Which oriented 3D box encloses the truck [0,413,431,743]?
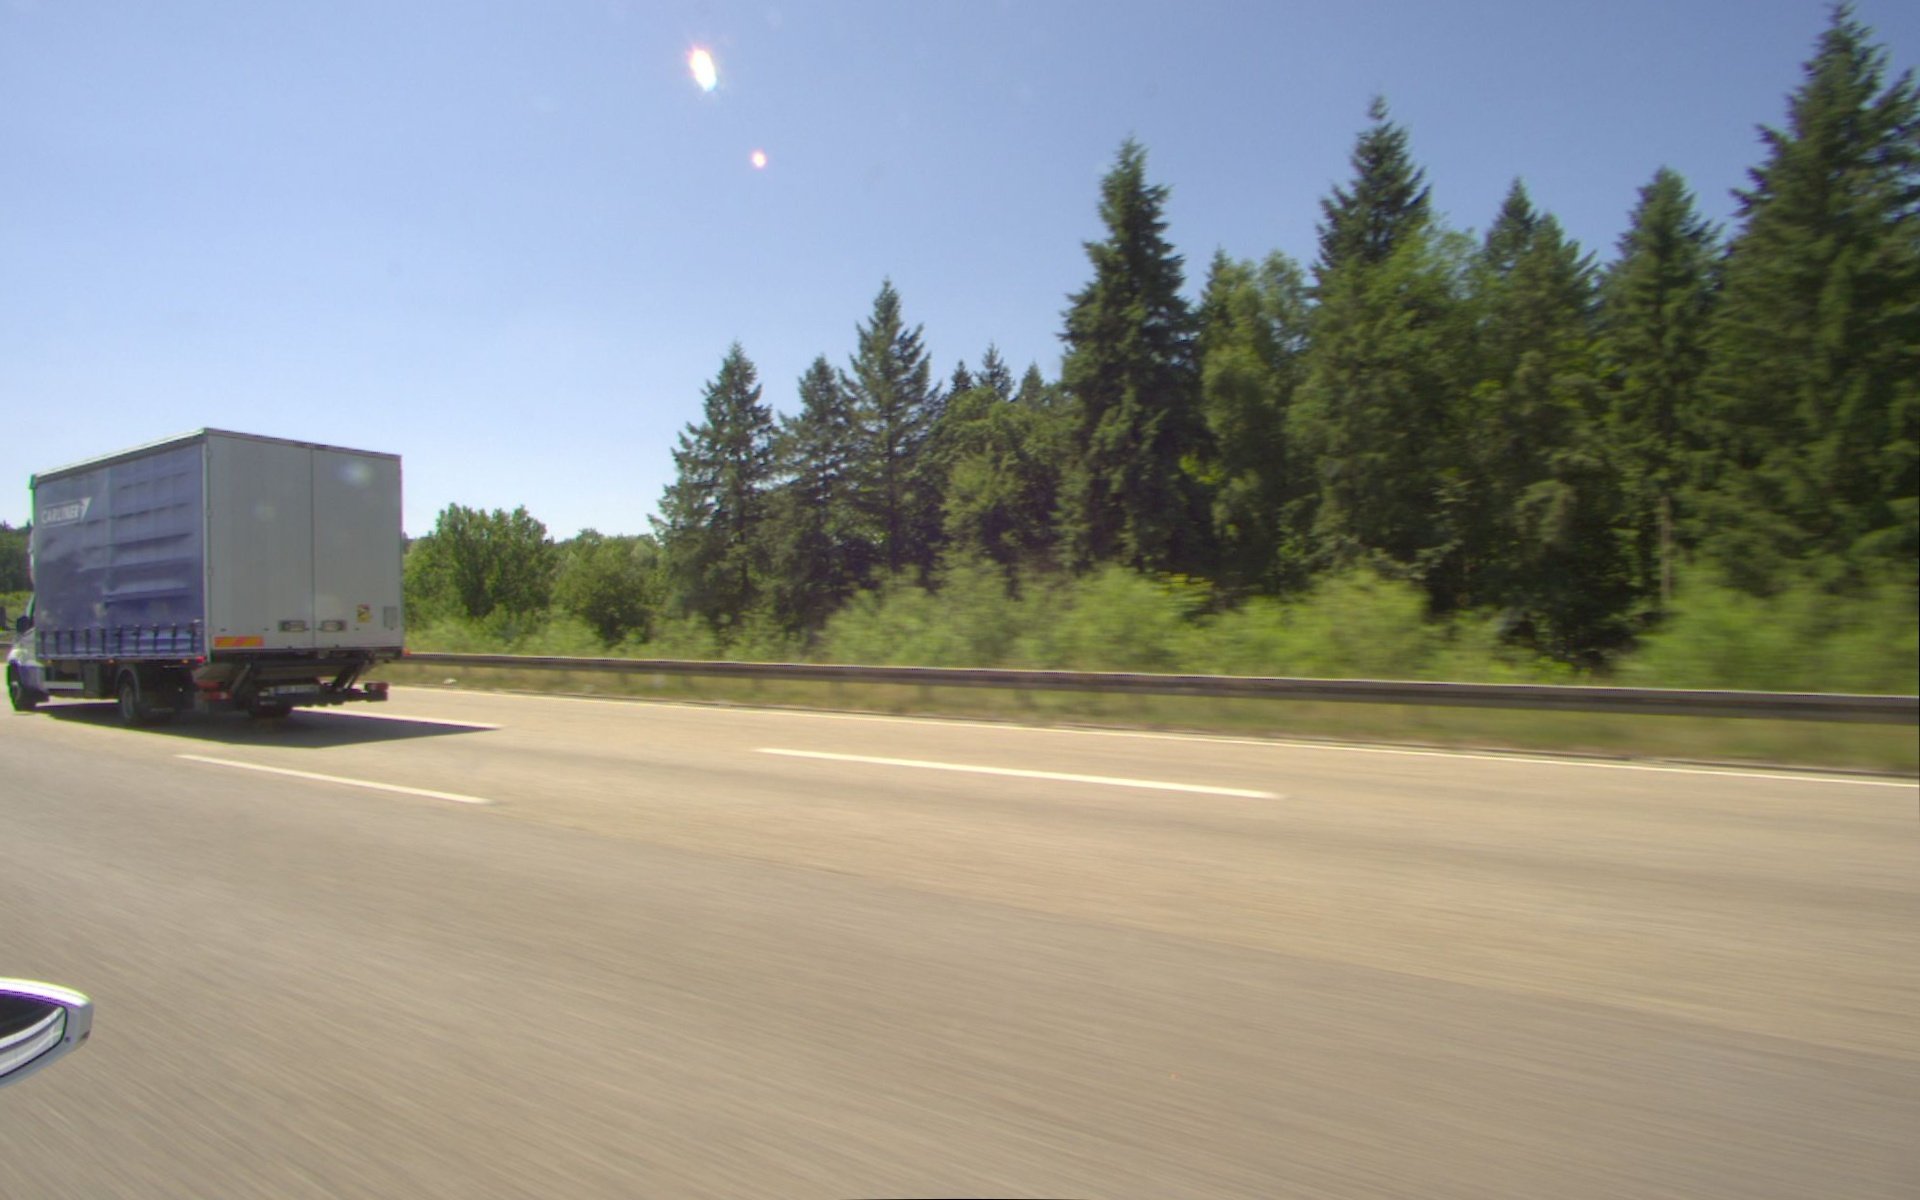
[{"bbox_3d":[-12.805,-0.156,16.370,9.597,4.181,2.780,-1,-2,31],"label":"truck"}]
